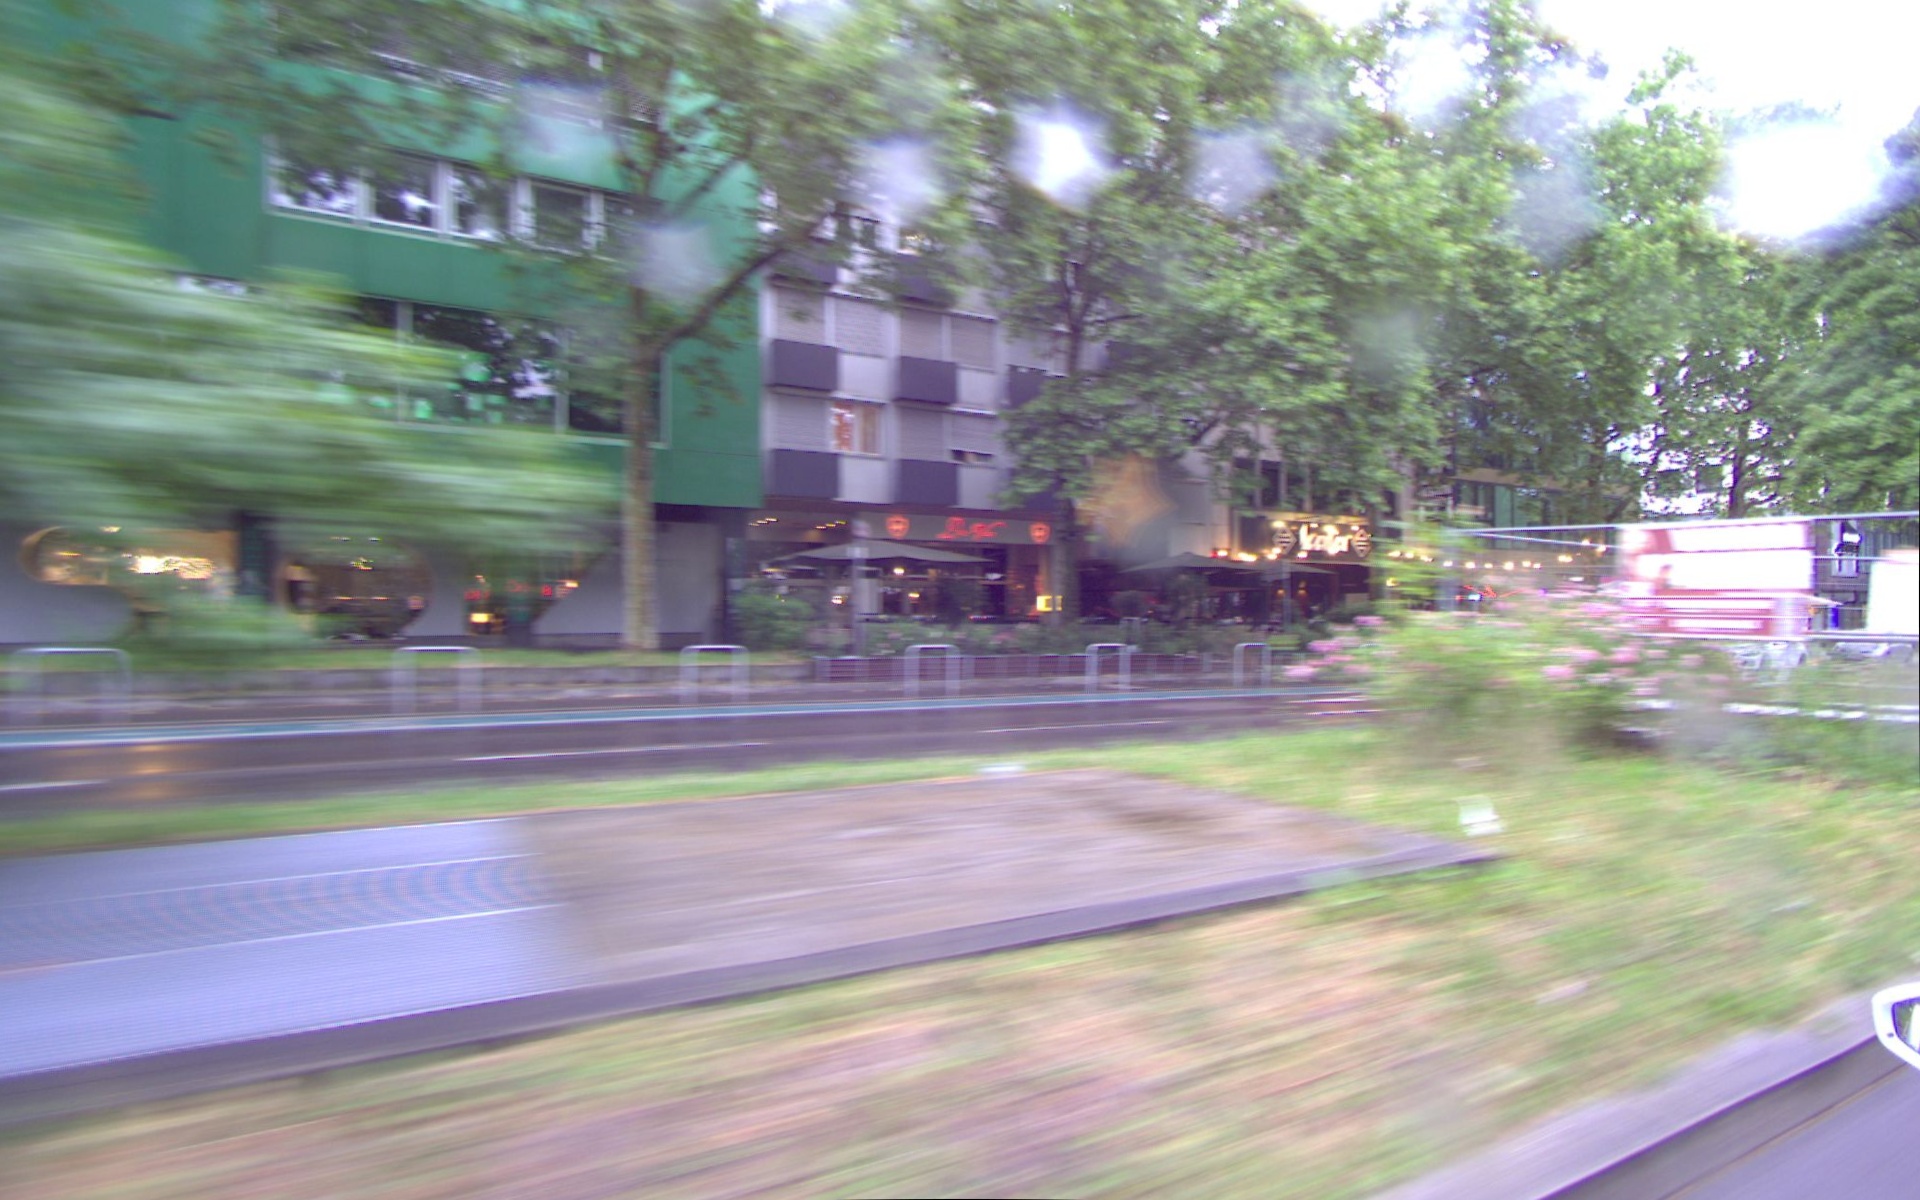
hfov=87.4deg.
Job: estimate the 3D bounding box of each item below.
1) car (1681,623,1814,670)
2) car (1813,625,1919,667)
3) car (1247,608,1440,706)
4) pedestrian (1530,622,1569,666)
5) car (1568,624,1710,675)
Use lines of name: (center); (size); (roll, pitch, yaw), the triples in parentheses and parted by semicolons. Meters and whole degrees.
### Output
car: (26.523, 1.533, 33.796); (4.486, 1.388, 1.984); (1, 1, -30)
car: (35.406, 1.754, 39.219); (4.468, 1.529, 1.983); (1, -1, -32)
car: (7.390, 0.998, 19.133); (4.409, 1.648, 1.703); (1, 0, -43)
pedestrian: (19.526, 1.446, 33.270); (0.923, 1.398, 0.759); (1, 0, -33)
car: (20.547, 1.461, 30.368); (4.430, 1.413, 1.816); (1, -1, -30)
